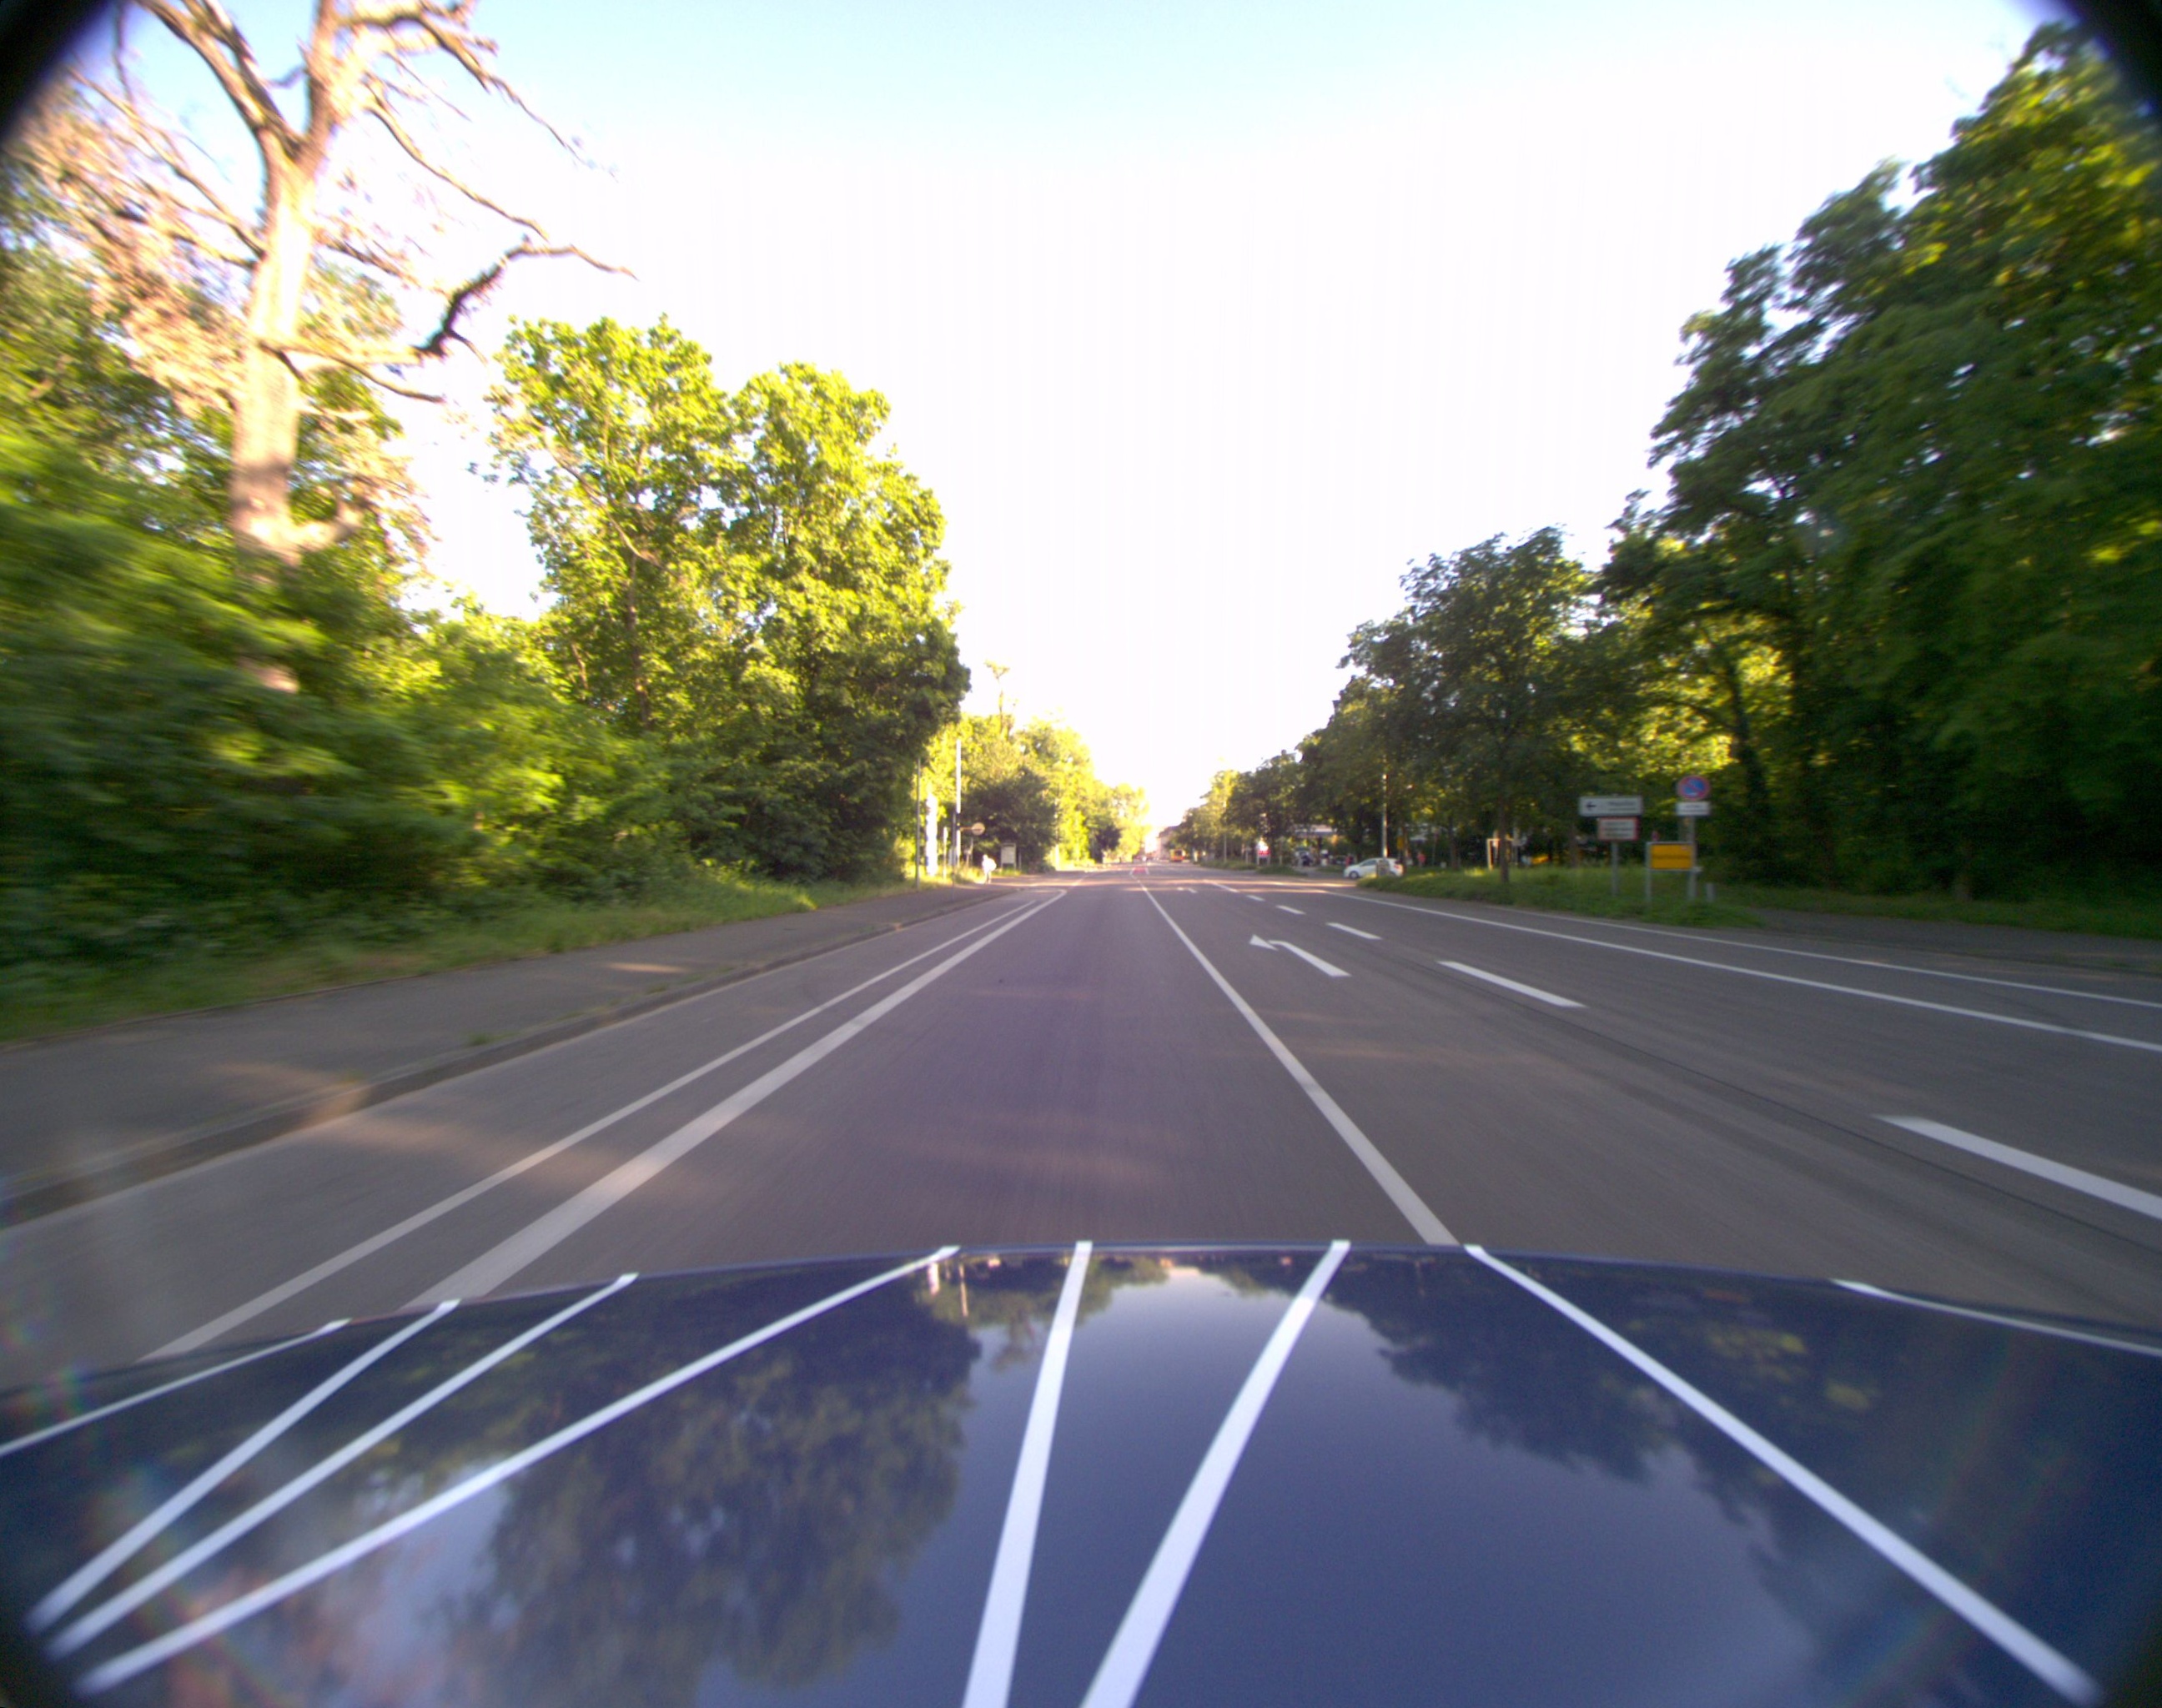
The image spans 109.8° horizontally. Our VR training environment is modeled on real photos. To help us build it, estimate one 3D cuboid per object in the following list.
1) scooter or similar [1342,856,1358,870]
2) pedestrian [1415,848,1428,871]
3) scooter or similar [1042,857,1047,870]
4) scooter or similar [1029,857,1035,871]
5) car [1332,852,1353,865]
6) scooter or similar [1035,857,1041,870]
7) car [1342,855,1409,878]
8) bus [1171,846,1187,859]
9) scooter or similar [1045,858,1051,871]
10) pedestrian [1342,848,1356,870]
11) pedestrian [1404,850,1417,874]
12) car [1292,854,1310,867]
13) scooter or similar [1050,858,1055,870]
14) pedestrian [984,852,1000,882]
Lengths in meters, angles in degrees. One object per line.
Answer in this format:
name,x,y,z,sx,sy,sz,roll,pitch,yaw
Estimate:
scooter or similar,22.601,0.741,63.873,0.465,1.125,1.342,0,1,-22
pedestrian,25.933,0.414,57.890,0.832,1.809,0.738,0,1,33
scooter or similar,-3.463,0.923,72.004,0.386,1.177,1.103,0,1,4
scooter or similar,-4.230,0.895,65.591,0.386,1.177,1.188,0,1,4
car,33.105,0.562,96.250,1.758,1.631,3.839,0,0,6
scooter or similar,-3.889,0.859,68.483,0.386,1.177,1.103,0,1,4
car,20.273,0.819,52.315,3.932,1.517,1.835,0,0,36
bus,26.633,-0.387,207.154,3.038,3.388,9.480,0,0,-1
scooter or similar,-3.064,0.928,70.414,0.386,1.177,1.103,0,1,4
pedestrian,21.995,0.377,62.374,0.738,1.809,0.833,0,1,-33
pedestrian,25.561,0.626,58.977,0.832,1.809,0.738,0,1,33
car,29.371,0.879,101.545,1.758,1.631,3.614,0,0,6
scooter or similar,-2.921,0.995,77.512,0.386,1.177,1.103,0,1,4
pedestrian,-5.273,0.767,44.922,0.809,1.789,0.734,0,1,3
